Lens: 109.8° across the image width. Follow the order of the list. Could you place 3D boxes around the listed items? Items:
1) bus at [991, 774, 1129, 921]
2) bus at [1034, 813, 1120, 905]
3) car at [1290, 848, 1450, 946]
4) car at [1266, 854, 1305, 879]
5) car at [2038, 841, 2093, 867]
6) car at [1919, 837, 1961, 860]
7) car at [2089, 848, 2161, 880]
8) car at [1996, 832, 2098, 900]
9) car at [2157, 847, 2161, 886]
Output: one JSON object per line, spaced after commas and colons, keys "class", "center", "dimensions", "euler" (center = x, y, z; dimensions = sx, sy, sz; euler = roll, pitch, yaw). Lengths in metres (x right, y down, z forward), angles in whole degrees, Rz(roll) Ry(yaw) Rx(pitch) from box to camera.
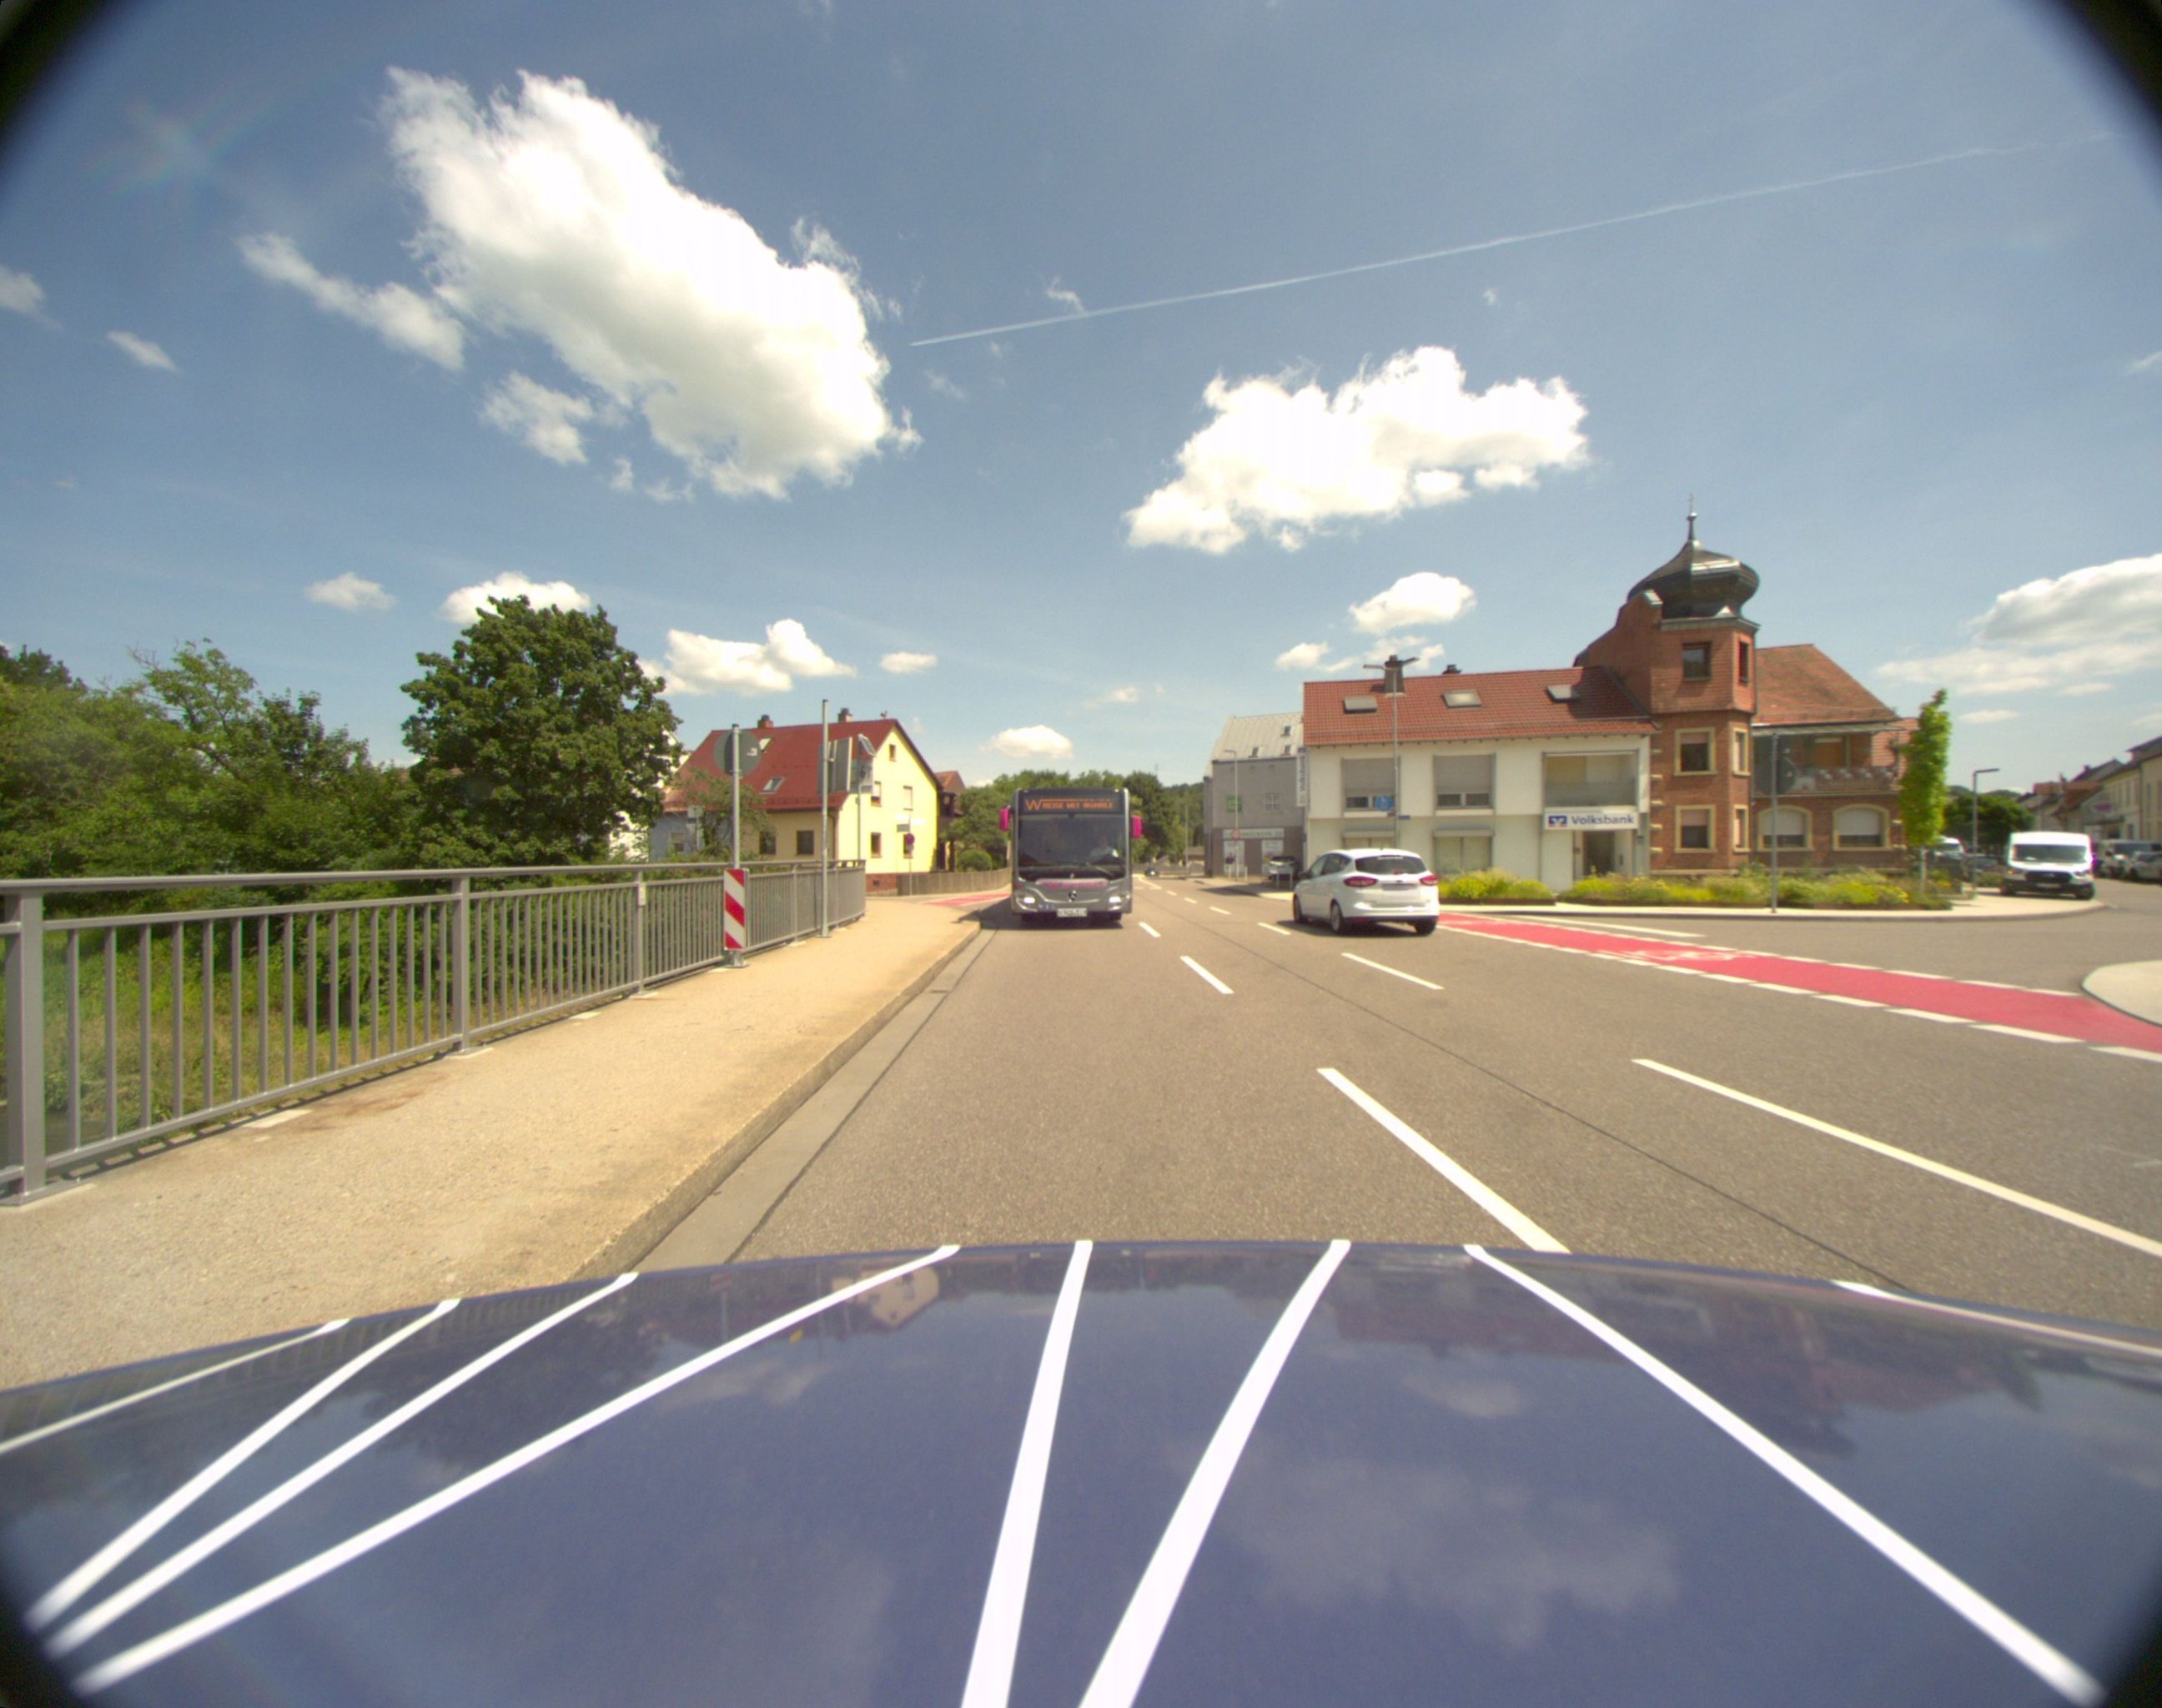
{"class": "bus", "center": [-0.263, 0.003, 20.076], "dimensions": [2.755, 2.949, 9.285], "euler": [1, -2, 2]}
{"class": "bus", "center": [-0.019, 0.305, 29.418], "dimensions": [2.755, 2.949, 9.284], "euler": [1, -2, 1]}
{"class": "car", "center": [5.543, 0.724, 15.138], "dimensions": [1.819, 1.640, 4.000], "euler": [-2, 1, 3]}
{"class": "car", "center": [13.634, 0.795, 50.453], "dimensions": [1.995, 1.565, 4.260], "euler": [1, 0, 22]}
{"class": "car", "center": [71.696, 0.004, 55.367], "dimensions": [1.862, 1.839, 4.008], "euler": [2, 1, 44]}
{"class": "car", "center": [76.559, -0.490, 67.743], "dimensions": [1.994, 2.002, 4.009], "euler": [1, 1, 42]}
{"class": "car", "center": [62.237, 0.563, 45.374], "dimensions": [1.862, 1.839, 4.008], "euler": [2, 1, 44]}
{"class": "car", "center": [36.165, 0.403, 28.530], "dimensions": [5.122, 2.332, 2.167], "euler": [0, 1, -39]}
{"class": "car", "center": [51.465, 0.613, 34.736], "dimensions": [1.918, 1.867, 4.008], "euler": [2, 1, 45]}
